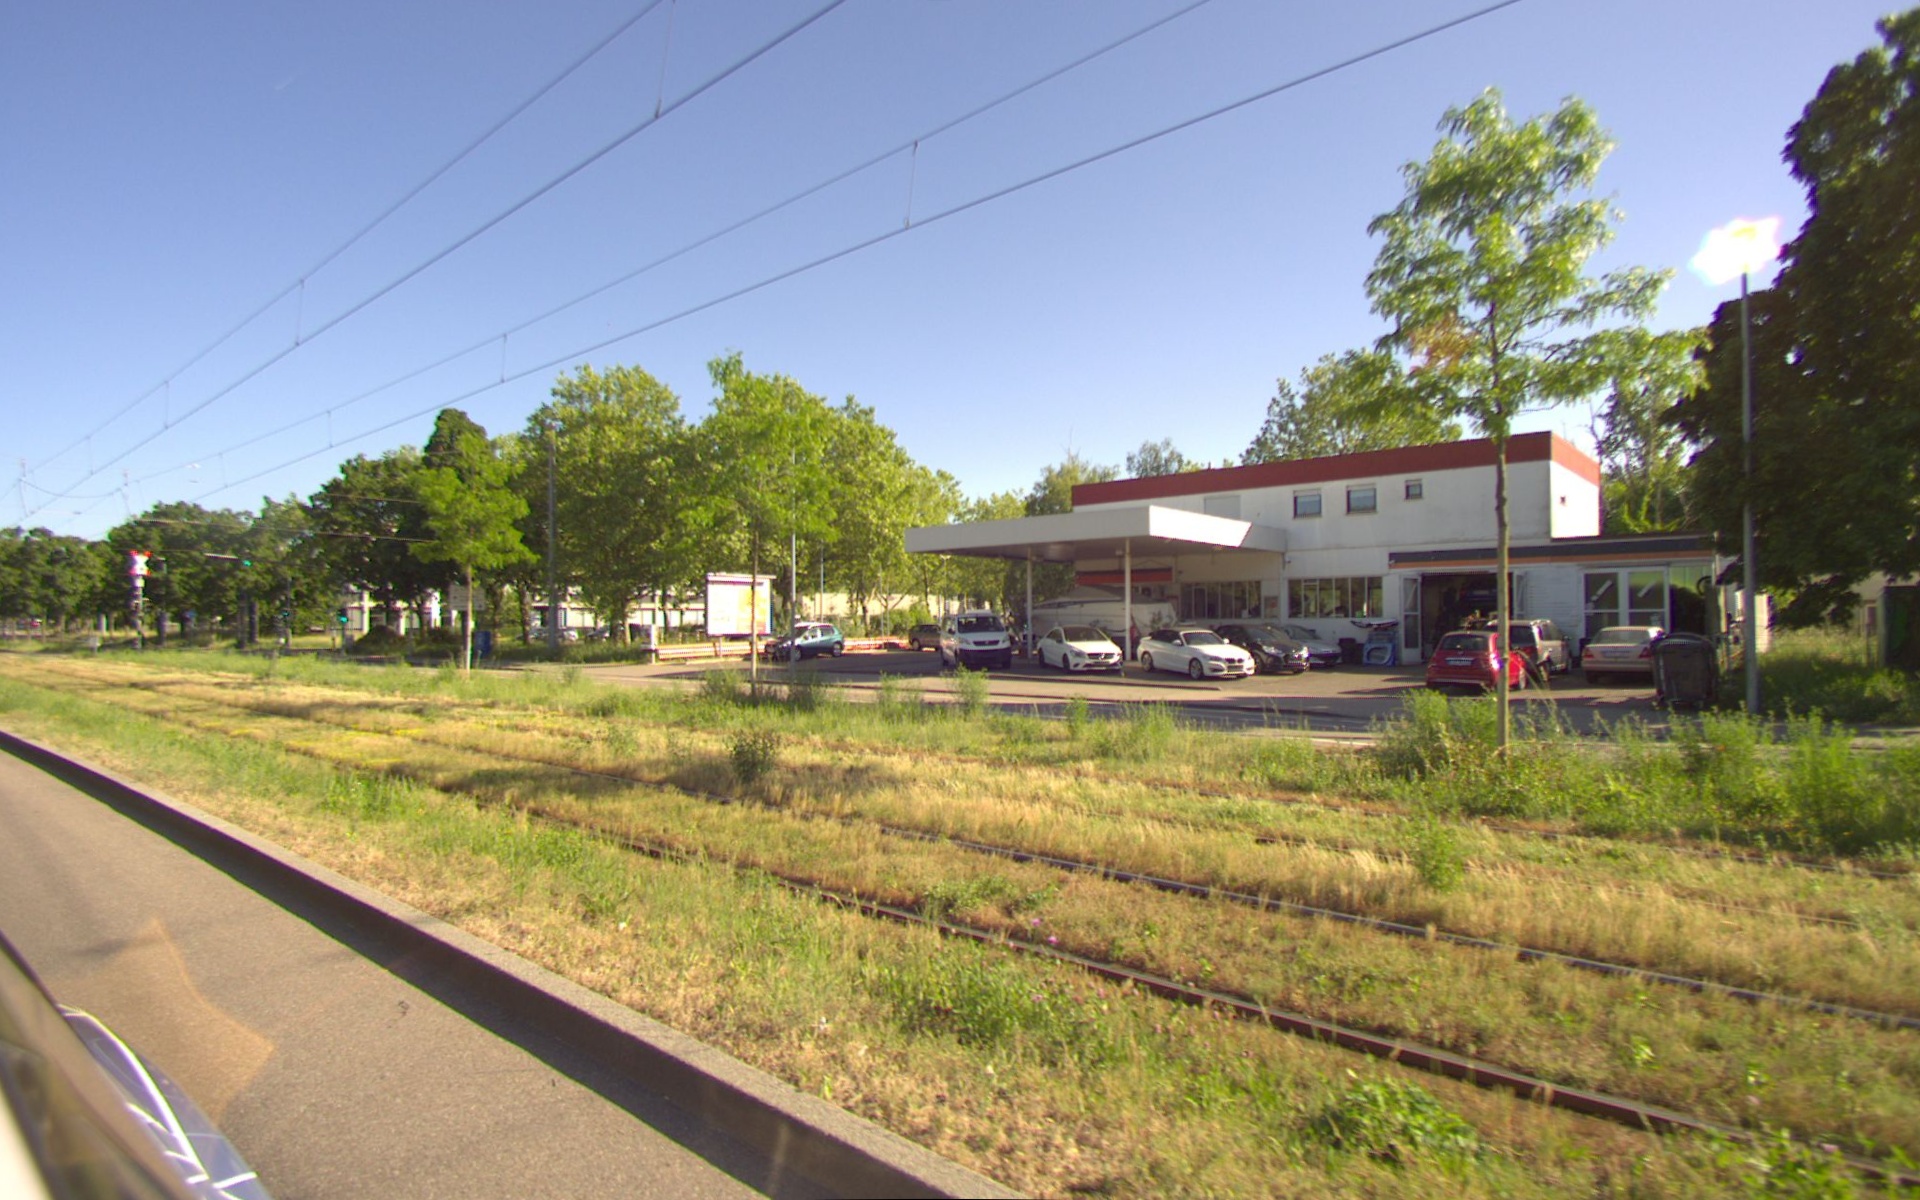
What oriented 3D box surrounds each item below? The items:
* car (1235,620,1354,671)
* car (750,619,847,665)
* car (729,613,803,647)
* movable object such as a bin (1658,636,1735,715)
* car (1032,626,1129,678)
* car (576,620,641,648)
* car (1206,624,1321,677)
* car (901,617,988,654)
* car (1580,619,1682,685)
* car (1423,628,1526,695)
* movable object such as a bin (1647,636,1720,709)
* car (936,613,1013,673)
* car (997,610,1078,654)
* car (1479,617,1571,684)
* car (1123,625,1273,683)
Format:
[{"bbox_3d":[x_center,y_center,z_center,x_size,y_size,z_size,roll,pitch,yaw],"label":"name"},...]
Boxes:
[{"bbox_3d":[11.403,1.508,34.834,1.994,1.562,4.311,1,0,-12],"label":"car"},{"bbox_3d":[-7.402,1.892,46.562,2.000,1.871,3.943,-2,0,43],"label":"car"},{"bbox_3d":[-11.630,1.775,60.737,1.997,1.876,4.002,-2,1,38],"label":"car"},{"bbox_3d":[13.847,1.383,19.020,1.119,1.379,1.212,-1,-1,38],"label":"movable object such as a bin"},{"bbox_3d":[3.809,1.622,32.821,1.689,1.435,4.469,-1,0,-13],"label":"car"},{"bbox_3d":[-25.311,2.423,72.940,1.997,1.840,4.002,-1,0,38],"label":"car"},{"bbox_3d":[9.560,1.551,32.266,1.820,1.519,4.000,1,0,-12],"label":"car"},{"bbox_3d":[-0.866,1.834,52.740,1.970,1.833,4.530,2,-3,-45],"label":"car"},{"bbox_3d":[17.599,1.298,26.489,1.704,1.521,3.778,-2,-1,41],"label":"car"},{"bbox_3d":[12.832,1.476,25.137,1.639,1.523,3.665,-2,-2,37],"label":"car"},{"bbox_3d":[14.426,1.409,20.173,1.119,1.375,1.212,-1,-2,38],"label":"movable object such as a bin"},{"bbox_3d":[0.415,1.491,35.762,1.868,1.925,4.820,-1,-2,-9],"label":"car"},{"bbox_3d":[3.759,1.531,48.577,1.886,2.002,4.556,-1,-2,34],"label":"car"},{"bbox_3d":[15.820,1.361,28.263,1.703,1.646,3.709,-2,0,37],"label":"car"},{"bbox_3d":[7.103,1.576,30.764,1.992,1.519,4.905,1,-1,-21],"label":"car"}]
